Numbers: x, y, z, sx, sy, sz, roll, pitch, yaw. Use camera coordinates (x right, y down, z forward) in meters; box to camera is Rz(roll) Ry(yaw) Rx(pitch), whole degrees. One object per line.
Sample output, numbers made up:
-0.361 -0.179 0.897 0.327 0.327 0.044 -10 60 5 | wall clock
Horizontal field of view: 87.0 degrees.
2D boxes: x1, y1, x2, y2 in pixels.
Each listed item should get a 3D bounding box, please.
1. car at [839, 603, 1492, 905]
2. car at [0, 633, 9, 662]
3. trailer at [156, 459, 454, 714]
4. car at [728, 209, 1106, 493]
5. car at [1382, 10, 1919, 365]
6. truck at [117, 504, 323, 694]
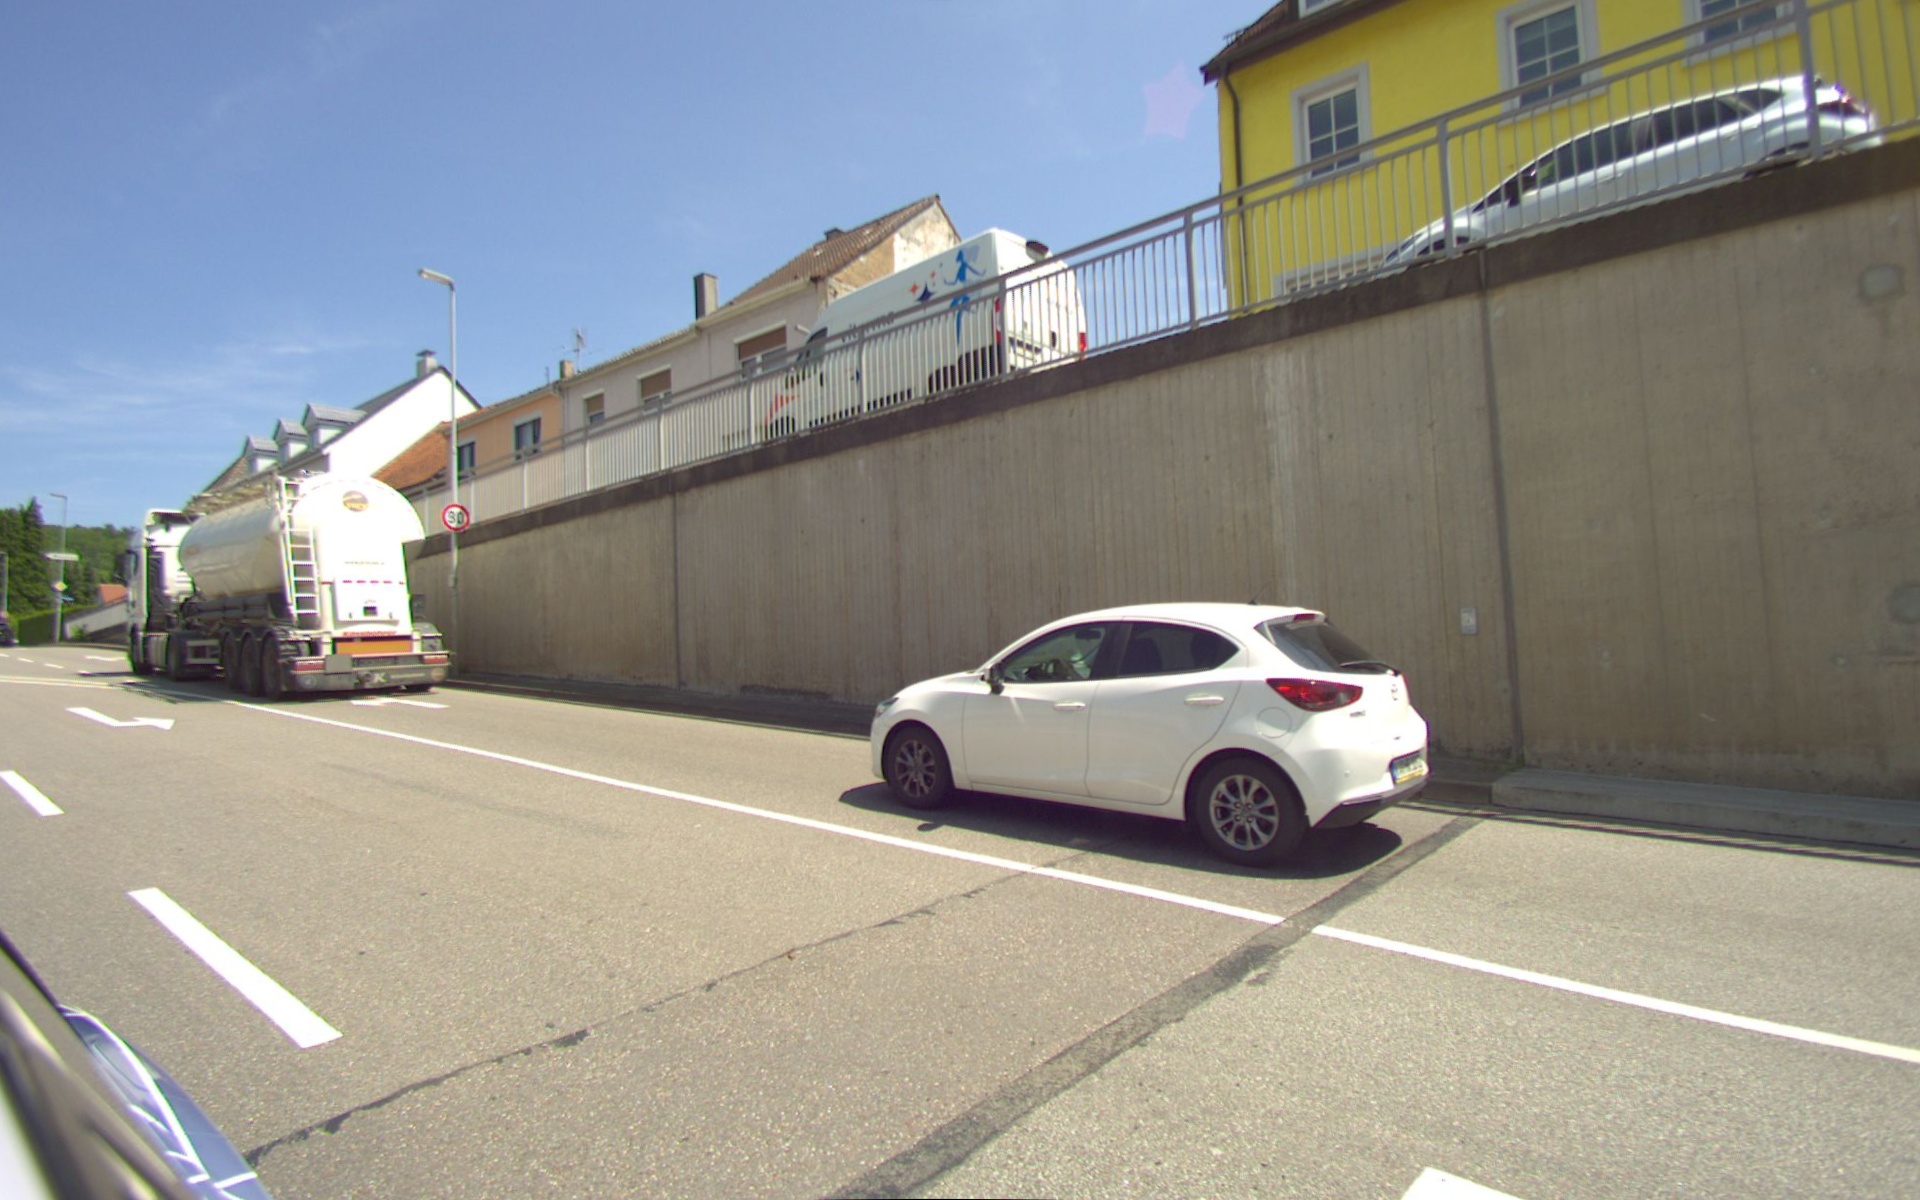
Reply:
1.158 0.786 6.909 4.092 1.451 1.664 -2 -1 42 | car
-52.580 2.552 54.448 4.368 1.500 1.741 -2 -2 43 | car
-13.232 -0.126 19.970 9.343 3.994 2.582 -1 -1 42 | trailer
-0.848 -3.350 15.083 5.657 2.556 2.044 -6 -4 41 | car
6.226 -3.477 9.224 4.039 1.512 1.603 -6 -4 39 | car
-17.610 0.036 23.914 6.578 3.890 2.633 -1 -2 42 | truck
